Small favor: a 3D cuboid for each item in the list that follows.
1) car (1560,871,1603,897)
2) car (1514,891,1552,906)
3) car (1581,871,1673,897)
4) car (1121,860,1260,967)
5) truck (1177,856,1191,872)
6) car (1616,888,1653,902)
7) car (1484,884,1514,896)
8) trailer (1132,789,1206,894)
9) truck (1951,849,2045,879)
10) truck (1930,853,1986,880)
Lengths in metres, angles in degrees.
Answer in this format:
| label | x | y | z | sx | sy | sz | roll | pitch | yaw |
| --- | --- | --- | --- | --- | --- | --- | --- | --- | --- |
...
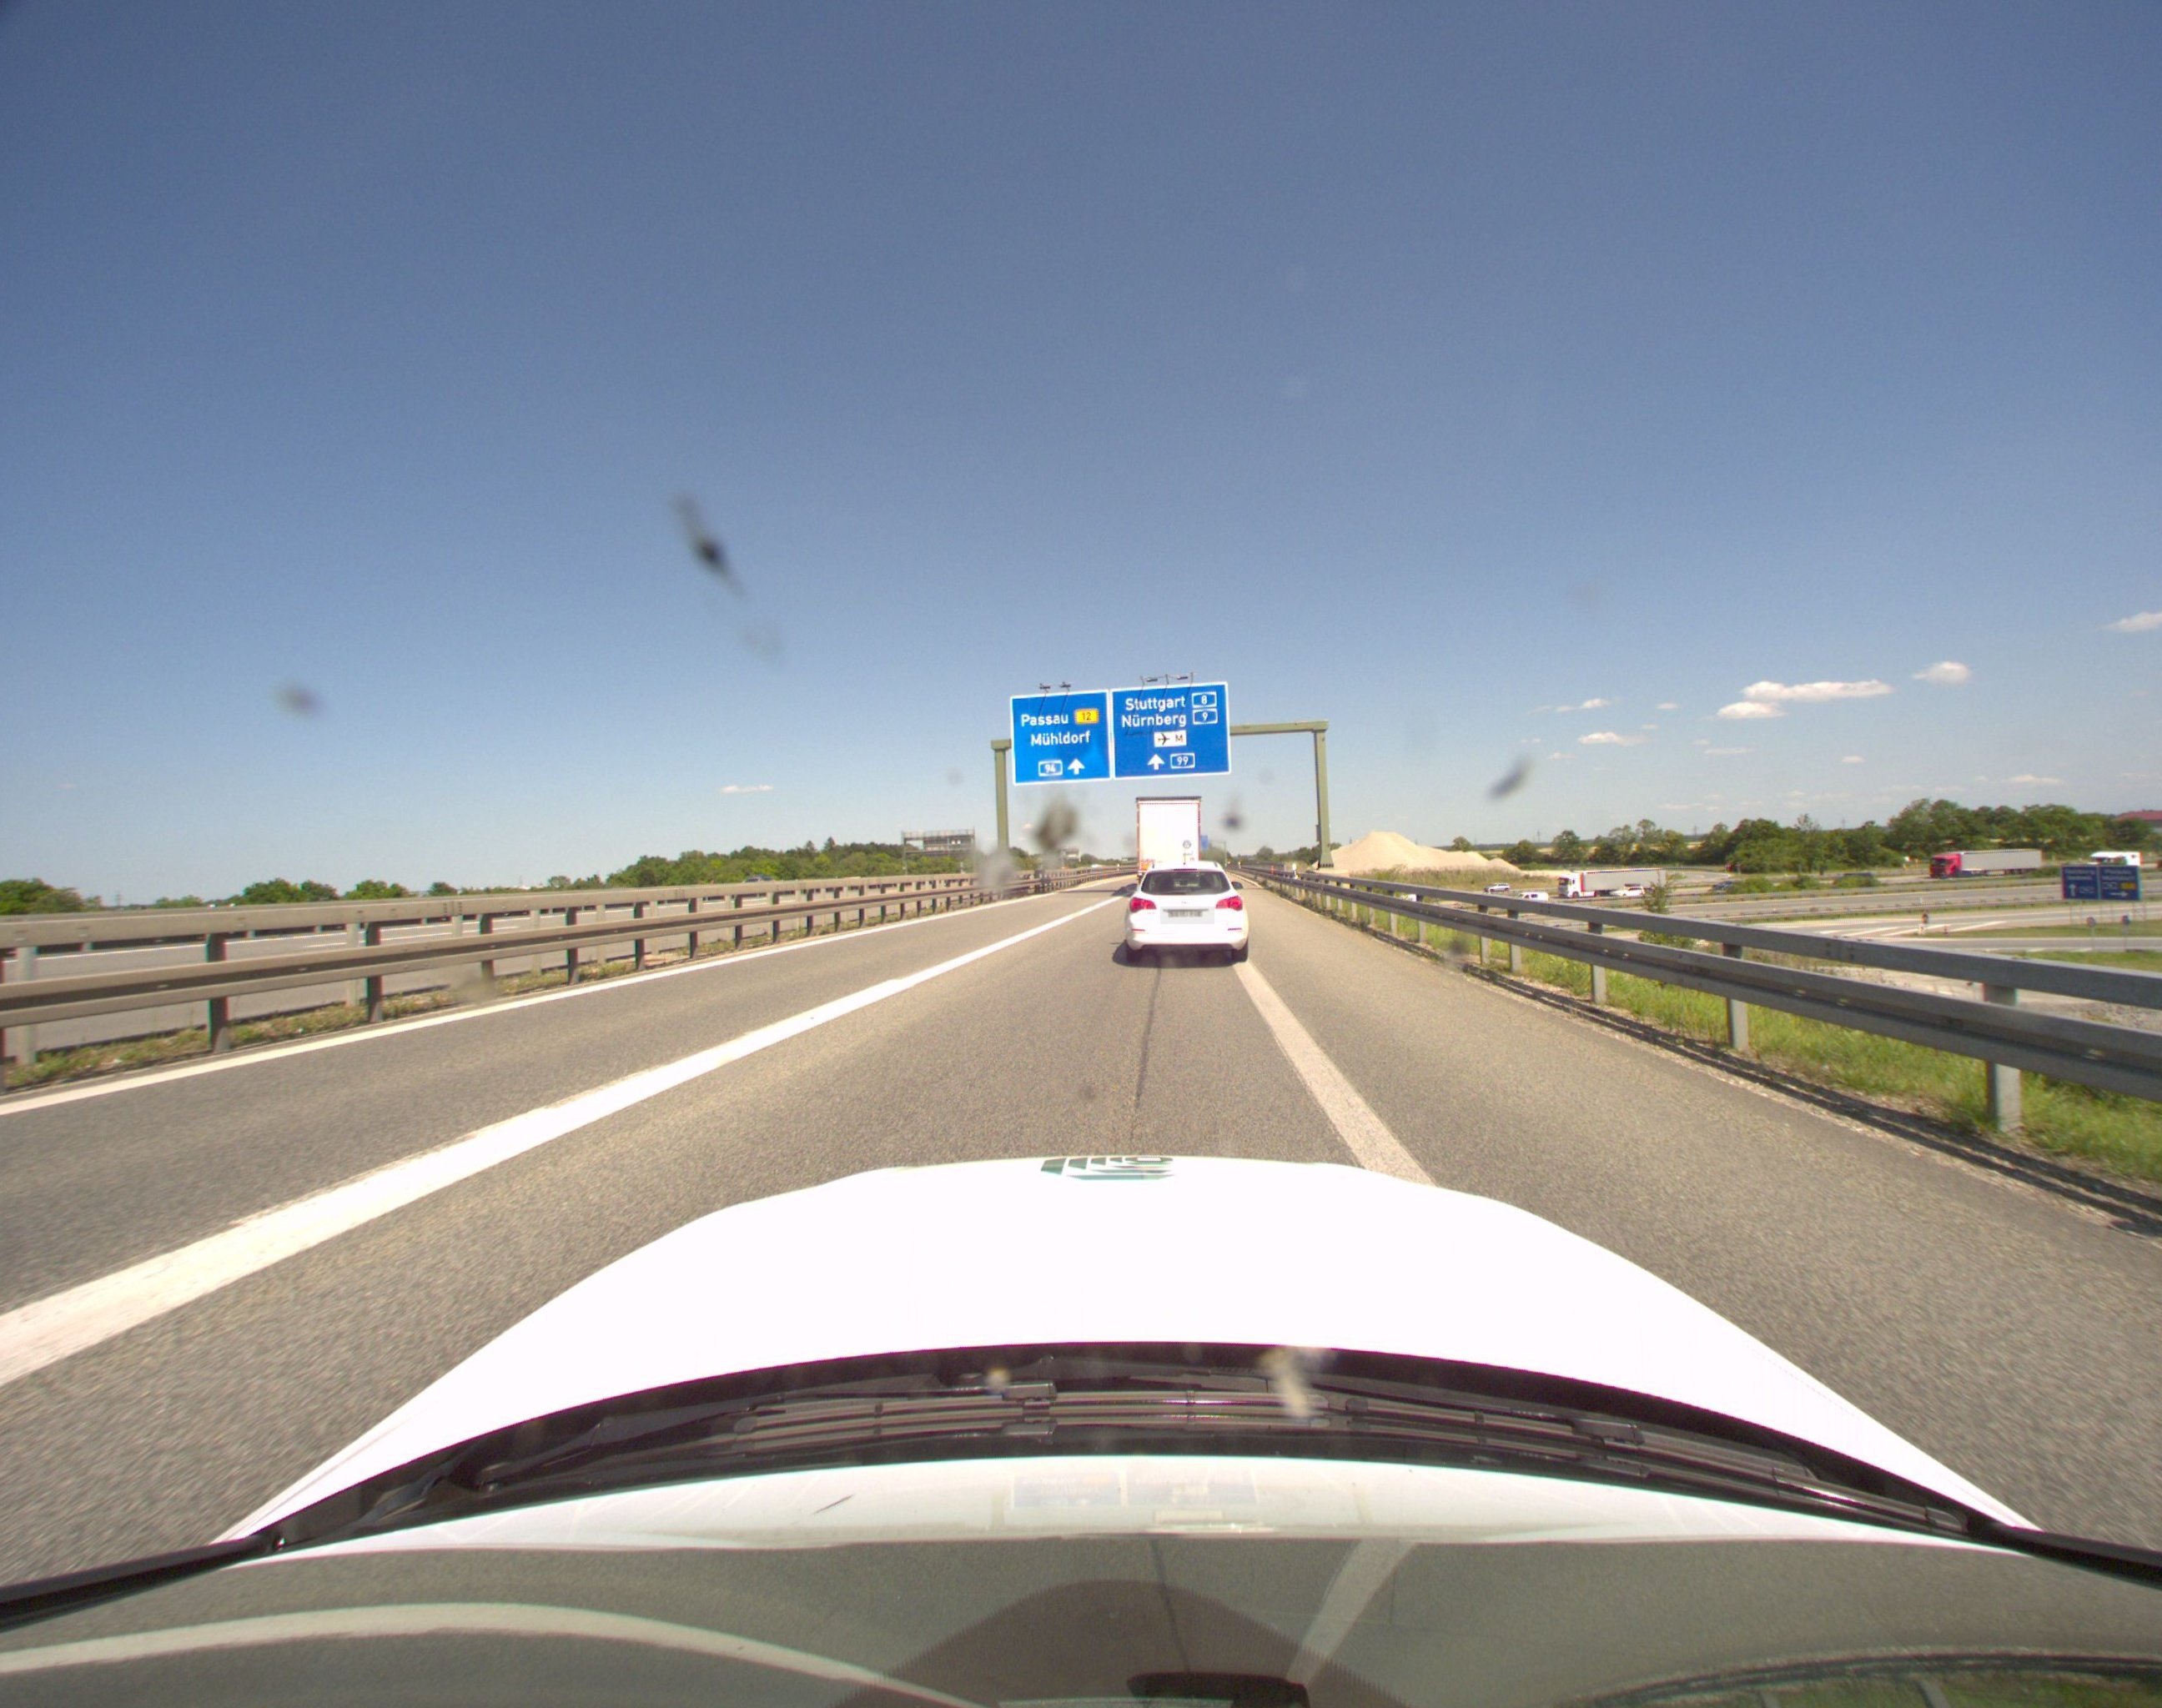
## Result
| label | x | y | z | sx | sy | sz | roll | pitch | yaw |
| --- | --- | --- | --- | --- | --- | --- | --- | --- | --- |
| car | 78.153 | 4.714 | 127.161 | 5.129 | 3.964 | 2.481 | 0 | -1 | -2 |
| car | 65.698 | 6.480 | 118.333 | 4.383 | 2.014 | 1.998 | 0 | -1 | -2 |
| car | 85.386 | 4.663 | 127.430 | 12.935 | 3.964 | 2.481 | 0 | -1 | -2 |
| car | 1.722 | 0.846 | 13.198 | 1.844 | 1.443 | 4.379 | -1 | -1 | 7 |
| truck | 28.541 | 2.837 | 224.676 | 3.519 | 4.146 | 11.281 | 1 | -1 | 8 |
| car | 84.366 | 6.260 | 124.172 | 4.383 | 2.014 | 1.998 | 0 | -1 | -2 |
| car | 75.278 | 6.471 | 146.725 | 4.383 | 2.014 | 1.998 | 0 | -1 | -2 |
| trailer | 4.173 | -0.331 | 38.111 | 2.897 | 4.146 | 11.277 | -1 | -2 | 7 |
| truck | 148.999 | 1.643 | 132.362 | 12.508 | 4.065 | 2.866 | -3 | -1 | -3 |
| truck | 142.172 | 2.012 | 132.012 | 5.924 | 4.065 | 2.867 | -3 | -1 | -3 |
